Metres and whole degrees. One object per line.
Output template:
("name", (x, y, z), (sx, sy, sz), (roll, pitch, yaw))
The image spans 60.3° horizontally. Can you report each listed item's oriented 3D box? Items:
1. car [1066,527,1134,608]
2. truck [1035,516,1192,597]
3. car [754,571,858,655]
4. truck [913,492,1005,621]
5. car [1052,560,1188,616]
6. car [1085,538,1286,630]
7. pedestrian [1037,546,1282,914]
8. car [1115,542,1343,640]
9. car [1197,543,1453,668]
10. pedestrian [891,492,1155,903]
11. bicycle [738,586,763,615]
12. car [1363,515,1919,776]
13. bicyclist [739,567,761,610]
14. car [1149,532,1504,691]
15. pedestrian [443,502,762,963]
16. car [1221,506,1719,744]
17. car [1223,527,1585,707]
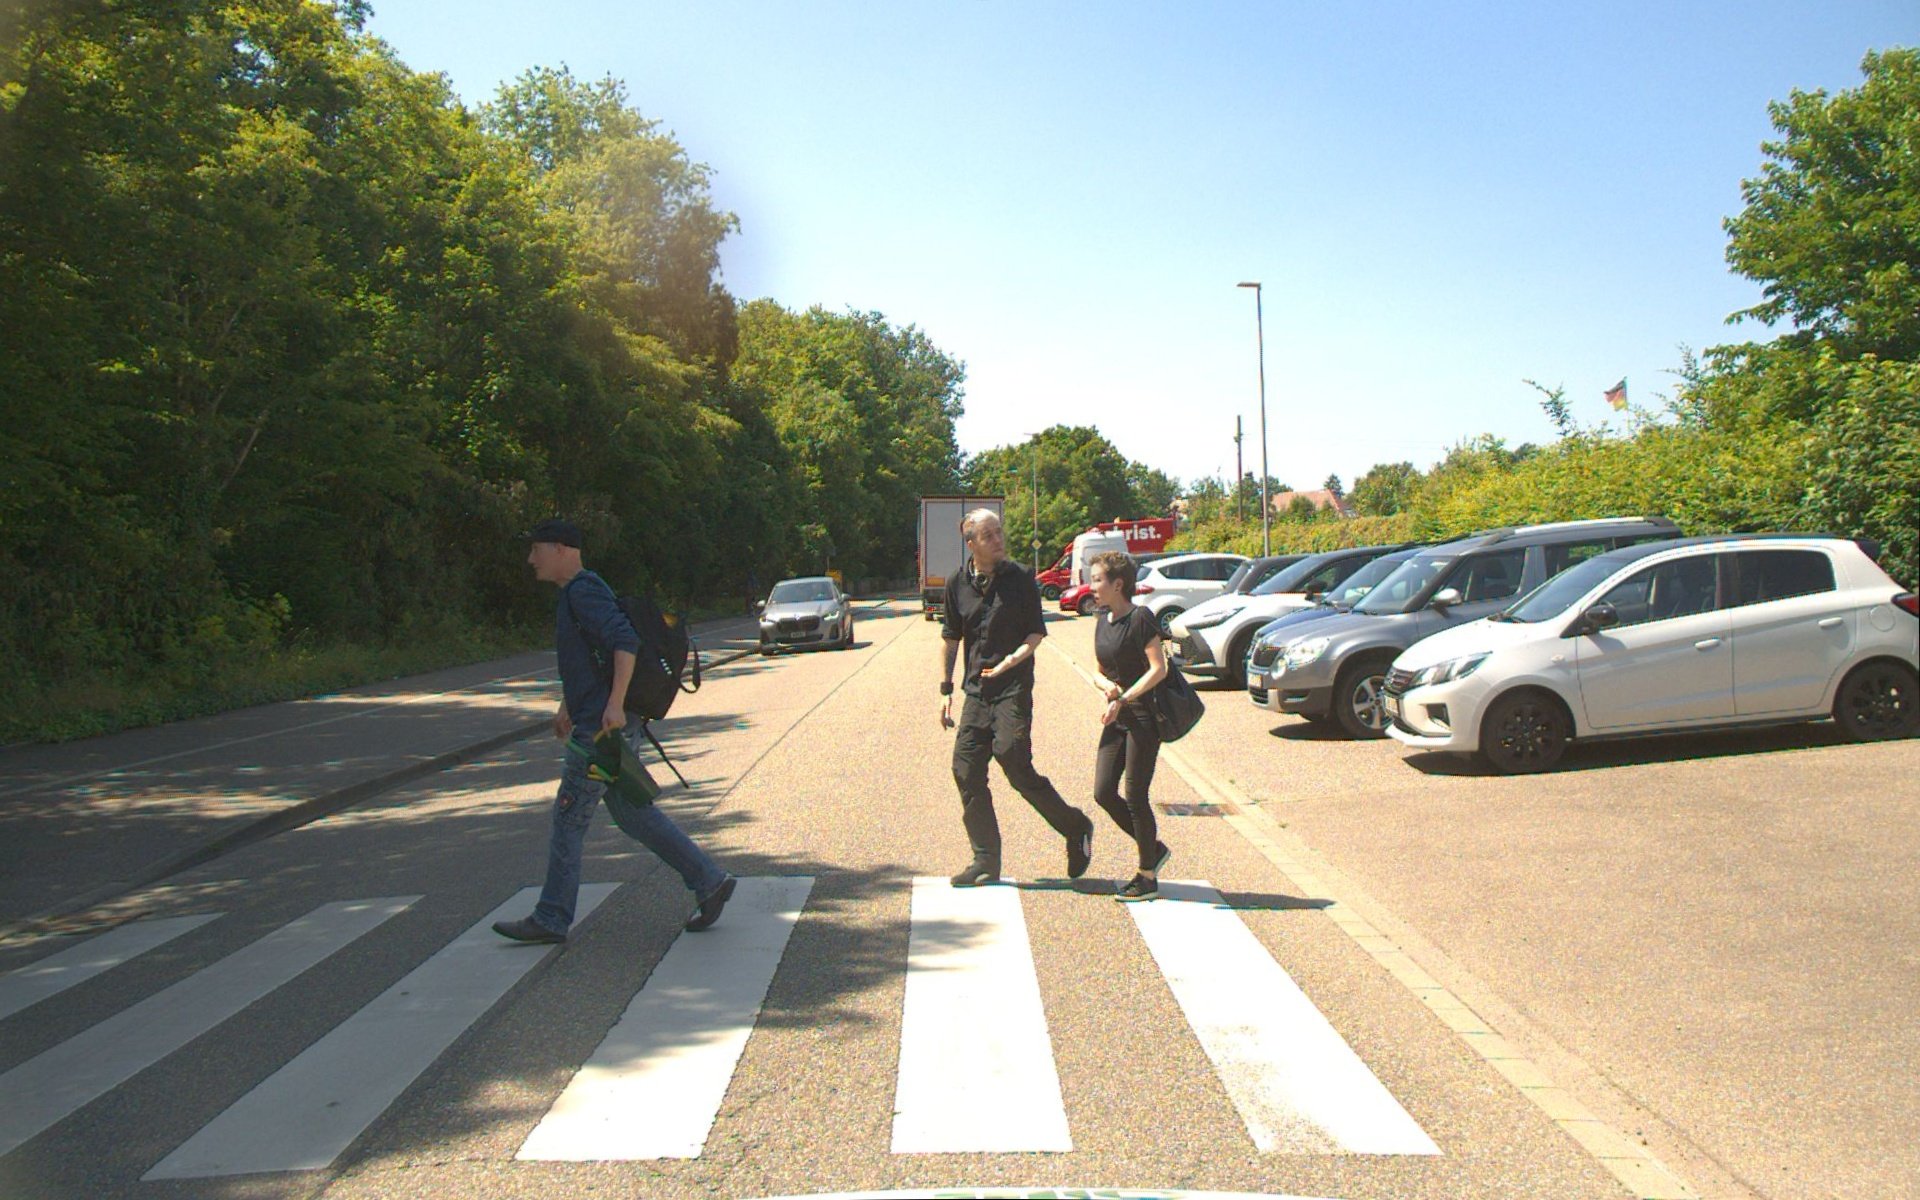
("car", (5.231, -1.254, 62.804), (1.914, 2.780, 7.169), (-4, 1, 1))
("truck", (7.177, -2.032, 76.949), (6.984, 3.500, 2.332), (-1, 2, 11))
("car", (-3.311, 0.228, 36.262), (1.853, 1.558, 4.196), (-6, 1, -1))
("truck", (0.051, -1.400, 55.952), (2.677, 3.811, 13.247), (-1, 1, 1))
("car", (5.039, -0.401, 52.347), (3.974, 1.459, 1.835), (-4, 1, -3))
("car", (5.332, -0.381, 39.486), (4.366, 1.836, 1.951), (-4, 0, -4))
("pedestrian", (0.953, 0.566, 7.930), (0.886, 1.639, 0.771), (-1, 1, -35))
("car", (5.363, -0.192, 33.275), (4.191, 1.605, 1.765), (-4, 1, -2))
("car", (5.187, 0.053, 23.823), (3.317, 1.529, 1.589), (-4, 1, 3))
("pedestrian", (0.315, 0.437, 8.255), (1.074, 1.897, 0.774), (-1, 1, -35))
("bicycle", (-7.871, -0.001, 62.077), (0.549, 1.045, 1.840), (-2, 1, 4))
("car", (4.987, 0.293, 12.159), (3.613, 1.475, 1.611), (-5, 1, 3))
("bicyclist", (-7.888, -0.440, 62.096), (0.635, 1.592, 0.837), (-2, 1, 4))
("car", (4.537, 0.113, 20.821), (3.887, 1.549, 1.862), (-5, 1, -6))
("pedestrian", (-1.471, 0.514, 7.059), (1.132, 1.782, 1.022), (-2, 1, -4))
("car", (4.542, 0.192, 15.022), (3.885, 1.668, 1.662), (-5, 1, -6))
("car", (4.757, 0.156, 17.955), (3.386, 1.553, 1.538), (-5, 1, -5))
